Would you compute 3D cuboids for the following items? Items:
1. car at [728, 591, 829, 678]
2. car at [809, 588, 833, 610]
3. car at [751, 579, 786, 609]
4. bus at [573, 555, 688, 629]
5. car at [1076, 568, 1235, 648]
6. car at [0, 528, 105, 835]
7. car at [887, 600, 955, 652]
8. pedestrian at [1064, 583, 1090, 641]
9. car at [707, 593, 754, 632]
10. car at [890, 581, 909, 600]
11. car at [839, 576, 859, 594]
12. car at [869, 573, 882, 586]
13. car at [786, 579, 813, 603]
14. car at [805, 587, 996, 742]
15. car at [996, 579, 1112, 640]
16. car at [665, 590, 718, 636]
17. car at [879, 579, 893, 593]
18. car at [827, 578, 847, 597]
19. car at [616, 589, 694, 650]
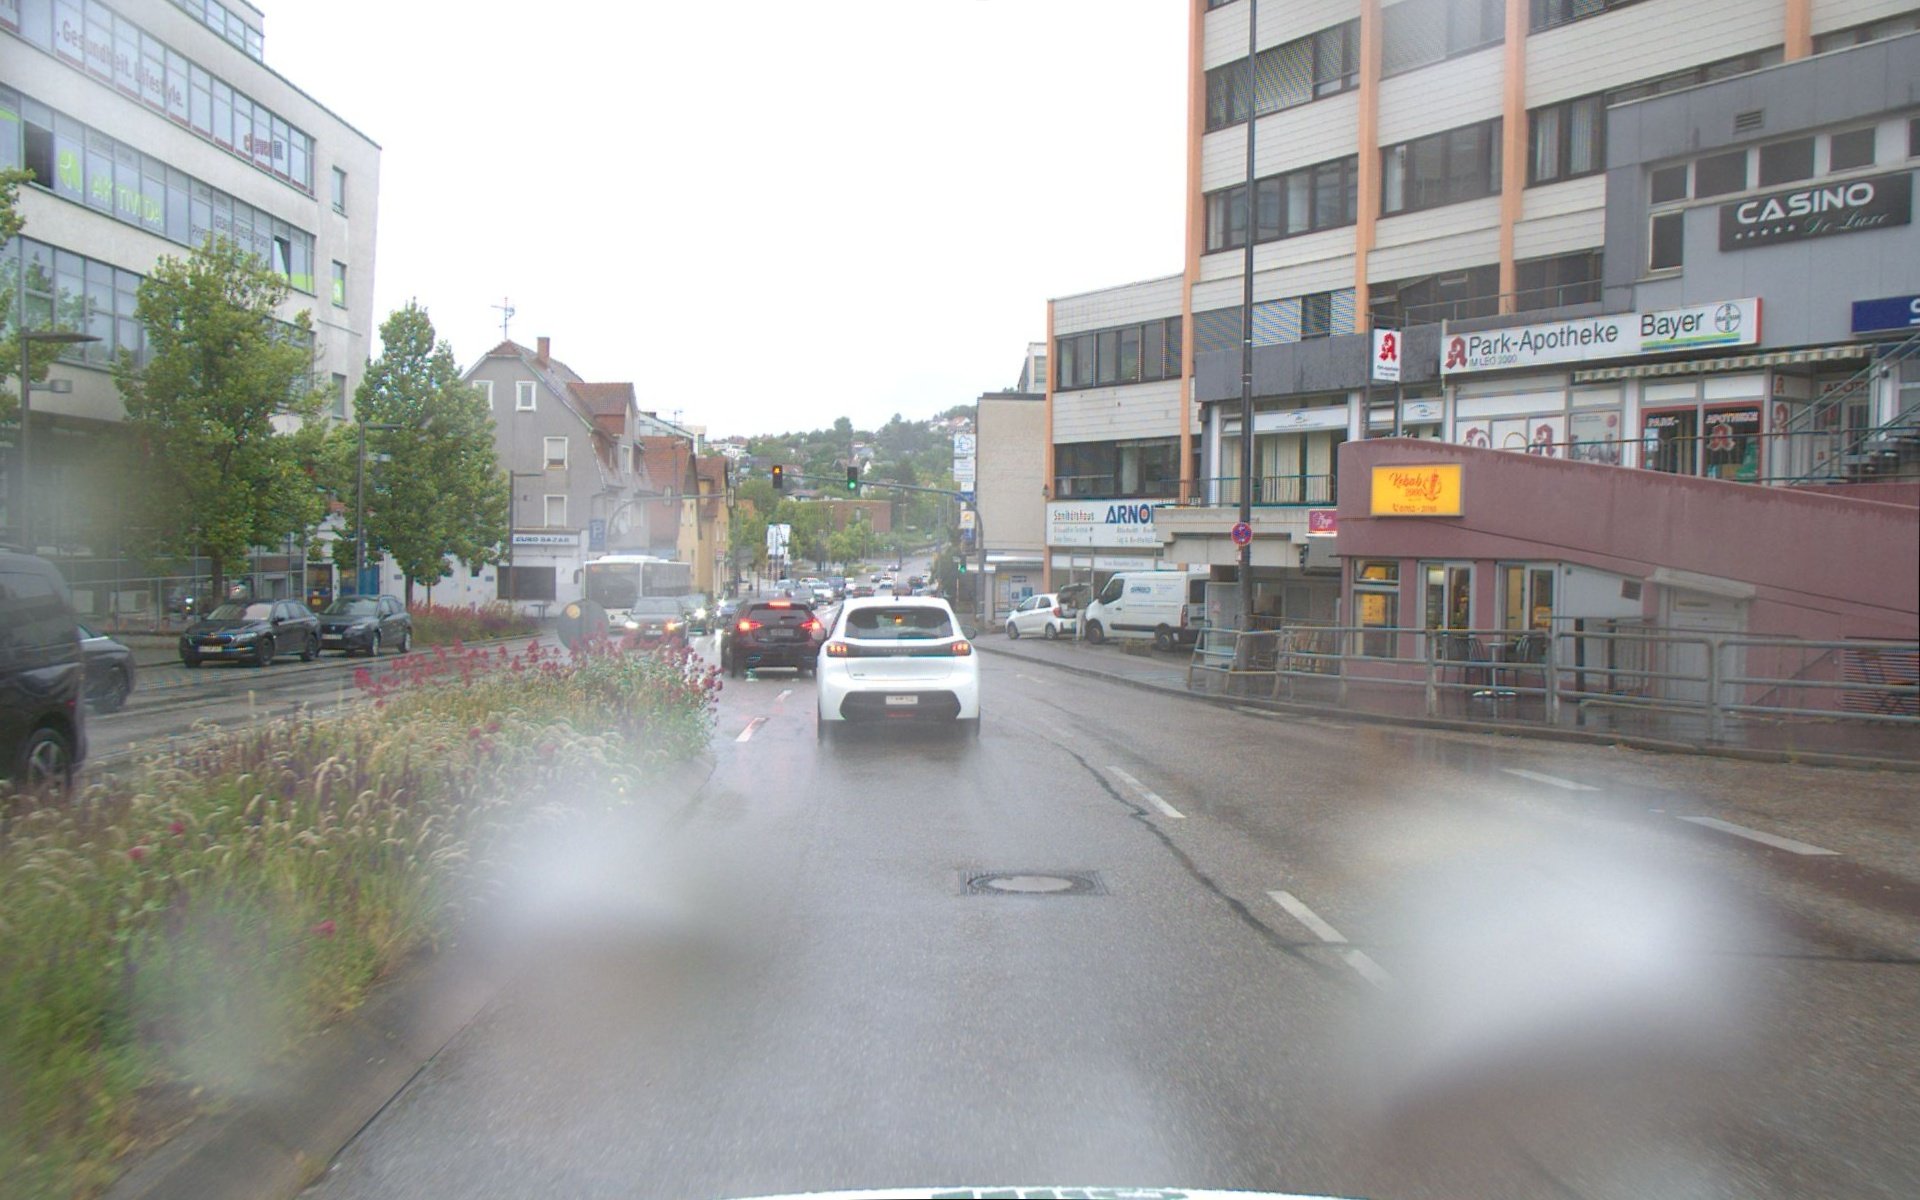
[{"bbox_3d":[-3.483,0.621,31.474,1.781,1.556,3.806,0,0,-7],"label":"car"},{"bbox_3d":[-11.089,-0.098,132.251,1.711,1.582,3.999,-1,2,-3],"label":"car"},{"bbox_3d":[-10.850,-0.368,93.871,1.711,1.582,3.999,-1,2,-3],"label":"car"},{"bbox_3d":[-13.730,-0.450,69.793,2.878,2.831,9.506,-1,2,0],"label":"bus"},{"bbox_3d":[5.892,0.195,50.393,1.979,2.265,4.911,-2,2,-37],"label":"car"},{"bbox_3d":[-6.764,0.531,9.149,1.954,1.855,4.296,-1,1,-3],"label":"car"},{"bbox_3d":[-1.222,0.765,50.547,1.874,1.424,3.454,0,2,-5],"label":"car"},{"bbox_3d":[3.816,0.388,53.966,0.634,1.854,0.576,-1,1,-34],"label":"pedestrian"},{"bbox_3d":[-10.376,0.552,75.006,1.779,1.582,3.998,-1,2,-4],"label":"car"},{"bbox_3d":[-5.631,-0.895,153.685,1.711,1.582,3.999,-1,2,-3],"label":"car"},{"bbox_3d":[-11.343,-1.507,169.501,1.750,1.713,4.001,1,2,0],"label":"car"},{"bbox_3d":[-11.540,-2.804,226.849,1.711,1.582,3.999,-1,2,-3],"label":"car"},{"bbox_3d":[-11.328,-0.679,116.956,1.711,1.582,3.999,-1,2,-3],"label":"car"},{"bbox_3d":[-0.694,0.627,17.988,1.835,1.487,3.870,1,0,-4],"label":"car"},{"bbox_3d":[3.108,0.279,55.459,1.868,1.911,4.088,-2,2,-33],"label":"car"},{"bbox_3d":[-10.140,0.468,62.620,1.780,1.582,3.995,-1,2,-7],"label":"car"},{"bbox_3d":[-8.939,-1.674,199.947,1.711,1.582,3.999,-1,2,-3],"label":"car"},{"bbox_3d":[-10.967,-1.105,147.739,1.711,1.582,3.999,-1,2,-3],"label":"car"},{"bbox_3d":[-8.916,0.534,48.646,1.856,1.582,3.996,-1,2,-5],"label":"car"}]
